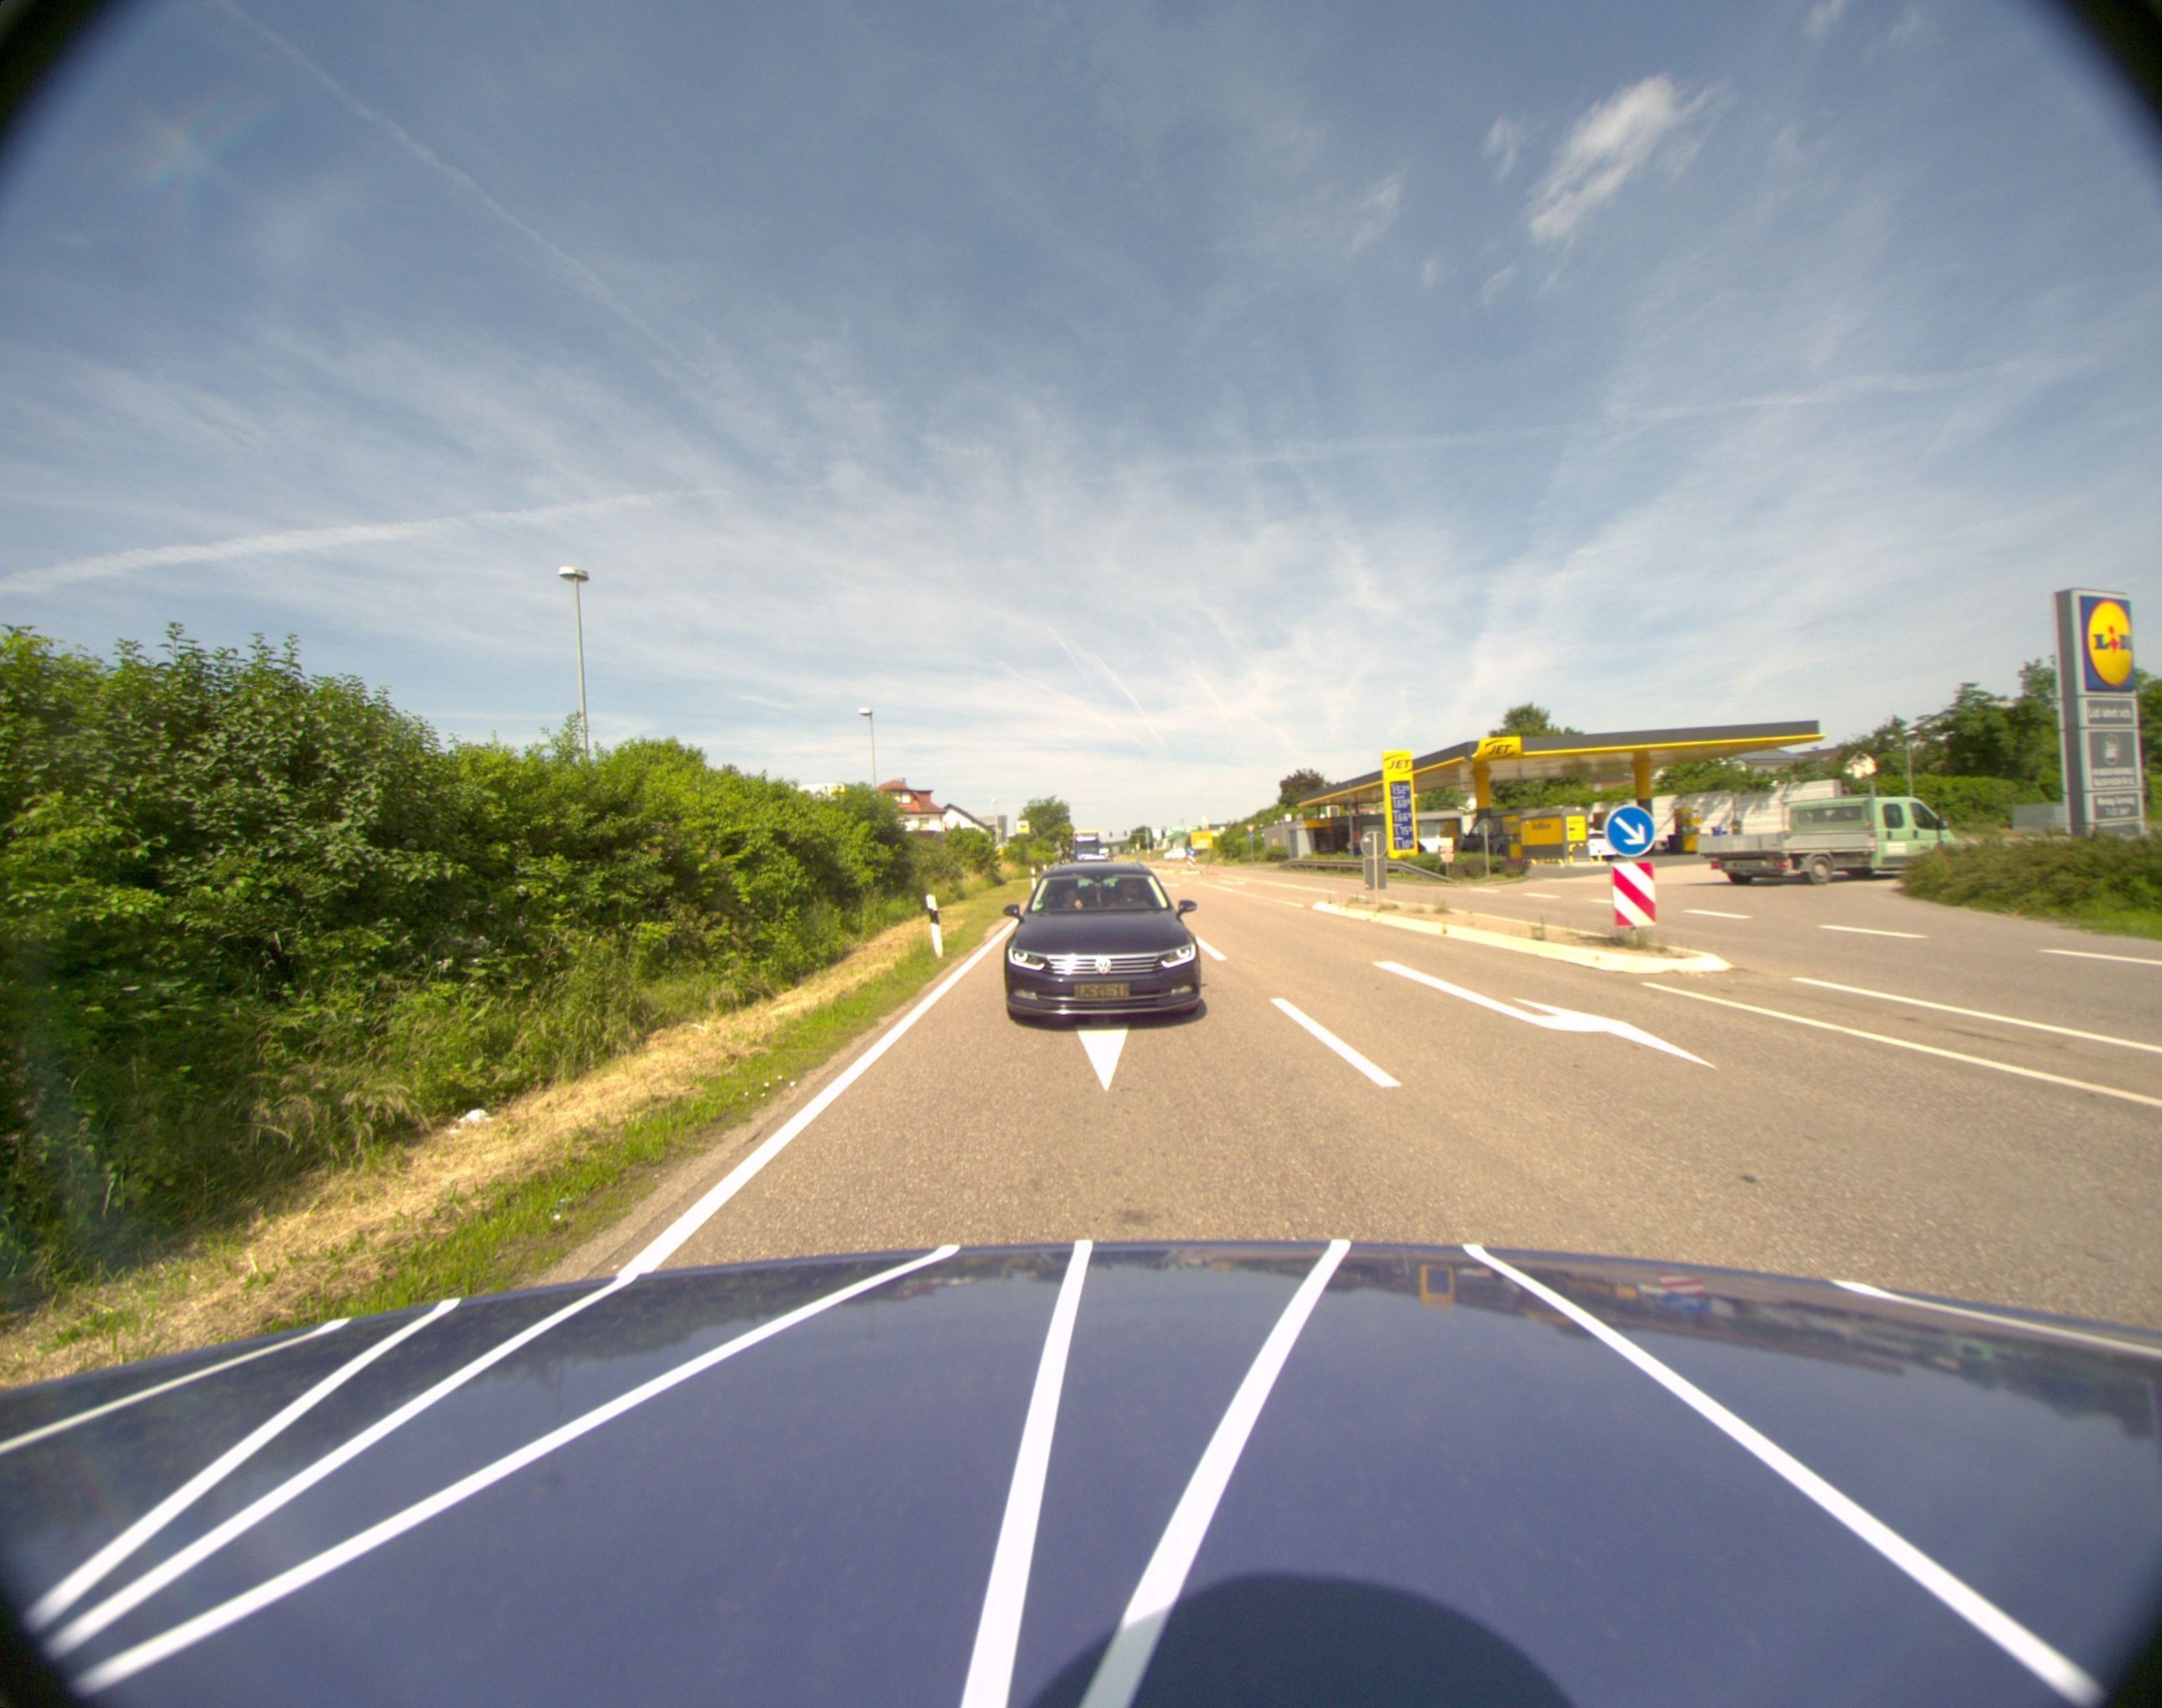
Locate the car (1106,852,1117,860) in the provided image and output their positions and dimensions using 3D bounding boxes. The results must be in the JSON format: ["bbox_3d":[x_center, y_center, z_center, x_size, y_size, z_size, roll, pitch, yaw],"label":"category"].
[{"bbox_3d":[5.424,0.337,135.646,1.786,1.210,4.000,-3,0,3],"label":"car"}]

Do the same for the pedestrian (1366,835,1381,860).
[{"bbox_3d":[21.732,-0.479,56.397,0.798,1.827,0.640,-3,0,2],"label":"pedestrian"}]

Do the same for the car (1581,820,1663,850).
[{"bbox_3d":[32.605,-1.126,45.905,1.753,1.603,3.873,-2,0,-9],"label":"car"}]

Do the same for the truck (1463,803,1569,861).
[{"bbox_3d":[24.233,-1.197,42.677,2.250,2.906,6.282,-2,1,0],"label":"truck"}]

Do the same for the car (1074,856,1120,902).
[{"bbox_3d":[0.567,0.825,26.712,1.471,1.451,3.797,-2,0,1],"label":"car"}]

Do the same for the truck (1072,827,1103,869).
[{"bbox_3d":[0.791,-0.637,80.592,2.855,3.999,12.916,-2,0,1],"label":"truck"}]

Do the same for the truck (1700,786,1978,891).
[{"bbox_3d":[20.129,-0.438,20.233,6.352,2.361,2.246,-3,1,-14],"label":"truck"}]

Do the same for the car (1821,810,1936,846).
[{"bbox_3d":[41.150,-1.328,39.349,3.866,1.603,1.756,-2,0,38],"label":"car"}]

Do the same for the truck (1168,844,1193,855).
[{"bbox_3d":[20.641,-1.013,158.140,4.772,1.997,1.999,-3,0,-3],"label":"truck"}]

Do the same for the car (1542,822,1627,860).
[{"bbox_3d":[24.576,-0.594,37.281,1.736,1.717,4.001,-1,0,4],"label":"car"}]

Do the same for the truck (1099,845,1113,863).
[{"bbox_3d":[5.776,-0.113,176.538,2.855,3.999,12.916,-2,0,1],"label":"truck"}]

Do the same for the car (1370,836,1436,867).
[{"bbox_3d":[19.453,-0.130,46.107,1.999,1.696,4.264,-2,0,-2],"label":"car"}]

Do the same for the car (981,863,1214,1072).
[{"bbox_3d":[0.184,0.916,8.366,1.756,1.493,4.925,-2,0,1],"label":"car"}]

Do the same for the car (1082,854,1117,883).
[{"bbox_3d":[1.051,0.796,42.970,1.814,1.466,3.974,-2,0,2],"label":"car"}]

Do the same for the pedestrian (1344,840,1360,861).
[{"bbox_3d":[18.743,-0.241,52.518,0.914,1.419,0.494,-2,1,11],"label":"pedestrian"}]
